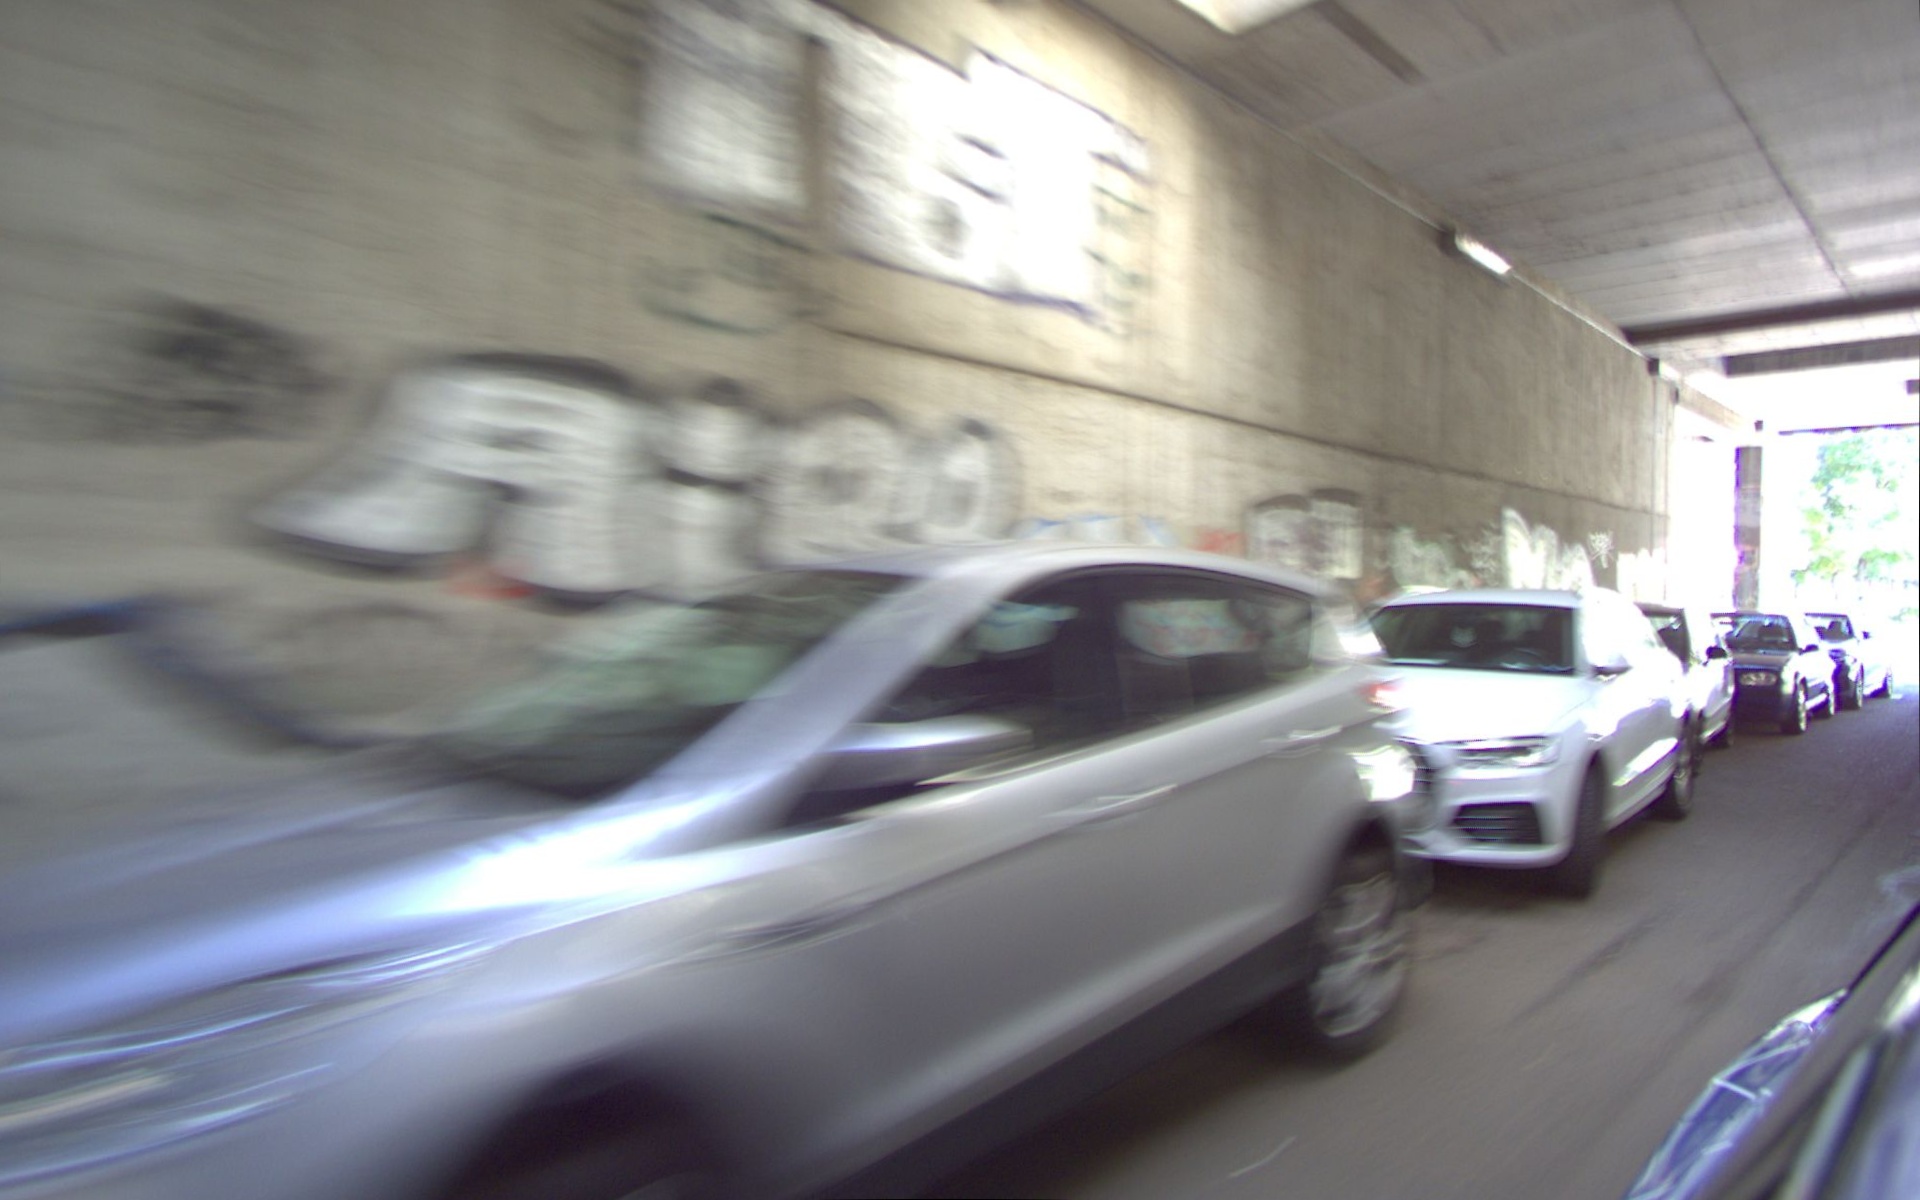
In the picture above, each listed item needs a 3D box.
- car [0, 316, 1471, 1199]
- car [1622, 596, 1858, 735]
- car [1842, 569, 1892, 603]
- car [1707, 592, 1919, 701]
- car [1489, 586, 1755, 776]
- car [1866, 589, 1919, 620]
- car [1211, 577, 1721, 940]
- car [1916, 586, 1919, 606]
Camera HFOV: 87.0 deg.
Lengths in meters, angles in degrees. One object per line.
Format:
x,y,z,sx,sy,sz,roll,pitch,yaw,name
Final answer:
-0.286,0.541,3.020,4.296,1.687,1.855,0,0,-43,car
10.047,0.696,12.931,3.995,1.428,1.763,-1,2,-43,car
56.948,-0.865,63.636,1.986,2.055,4.244,1,0,38,car
13.650,0.638,16.104,4.526,1.451,1.854,-1,0,-40,car
6.674,0.628,10.056,1.603,1.506,3.581,1,2,43,car
48.547,0.240,52.572,1.770,1.459,3.946,5,2,37,car
3.438,0.645,6.463,1.730,1.565,4.089,1,2,45,car
80.855,-0.289,82.589,3.981,1.606,1.792,2,-1,39,car
